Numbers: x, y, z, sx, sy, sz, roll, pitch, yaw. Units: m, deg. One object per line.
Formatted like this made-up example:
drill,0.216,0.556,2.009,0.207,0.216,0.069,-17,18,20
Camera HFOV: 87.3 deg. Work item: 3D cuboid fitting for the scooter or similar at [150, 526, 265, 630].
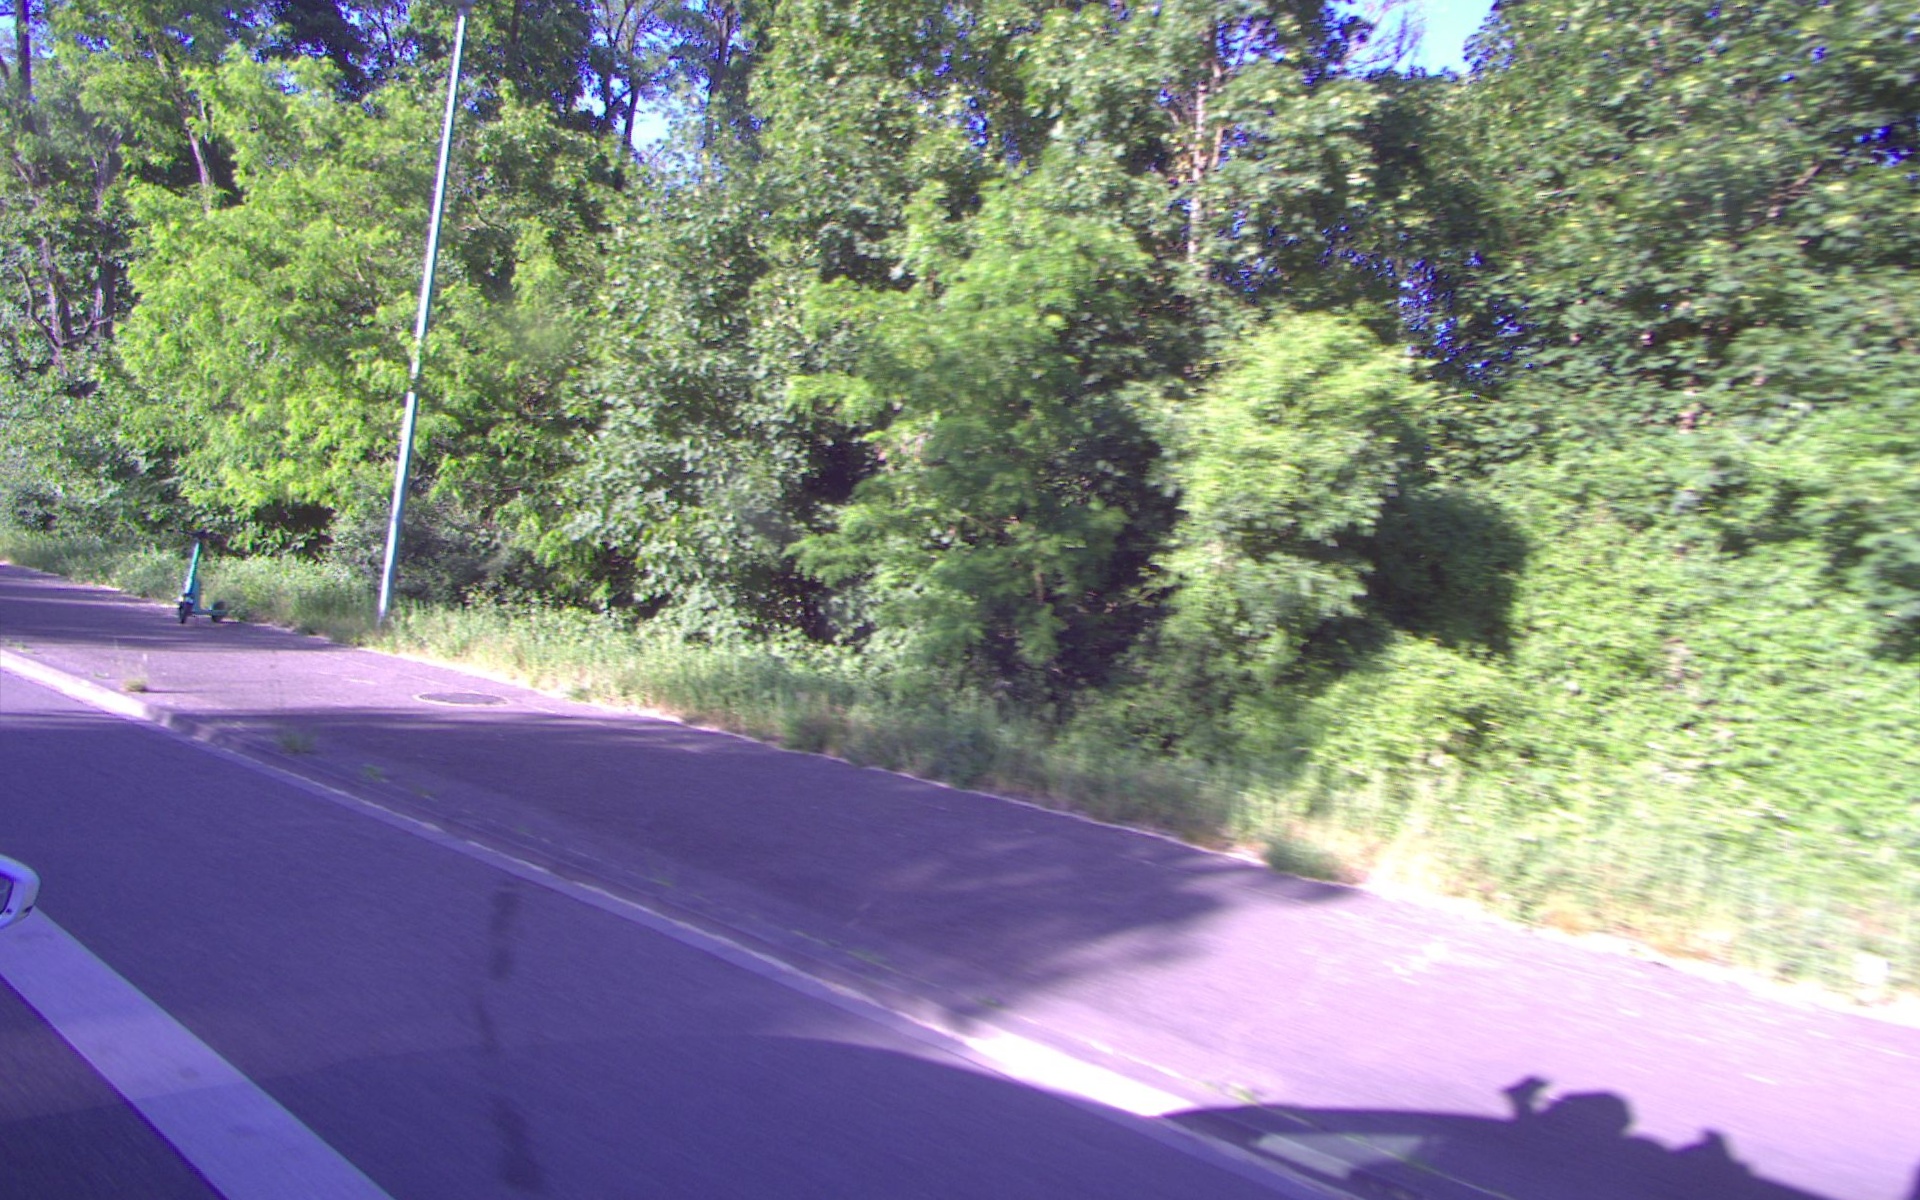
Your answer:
scooter or similar,-10.152,-0.289,13.628,0.526,1.265,1.538,7,0,-11
